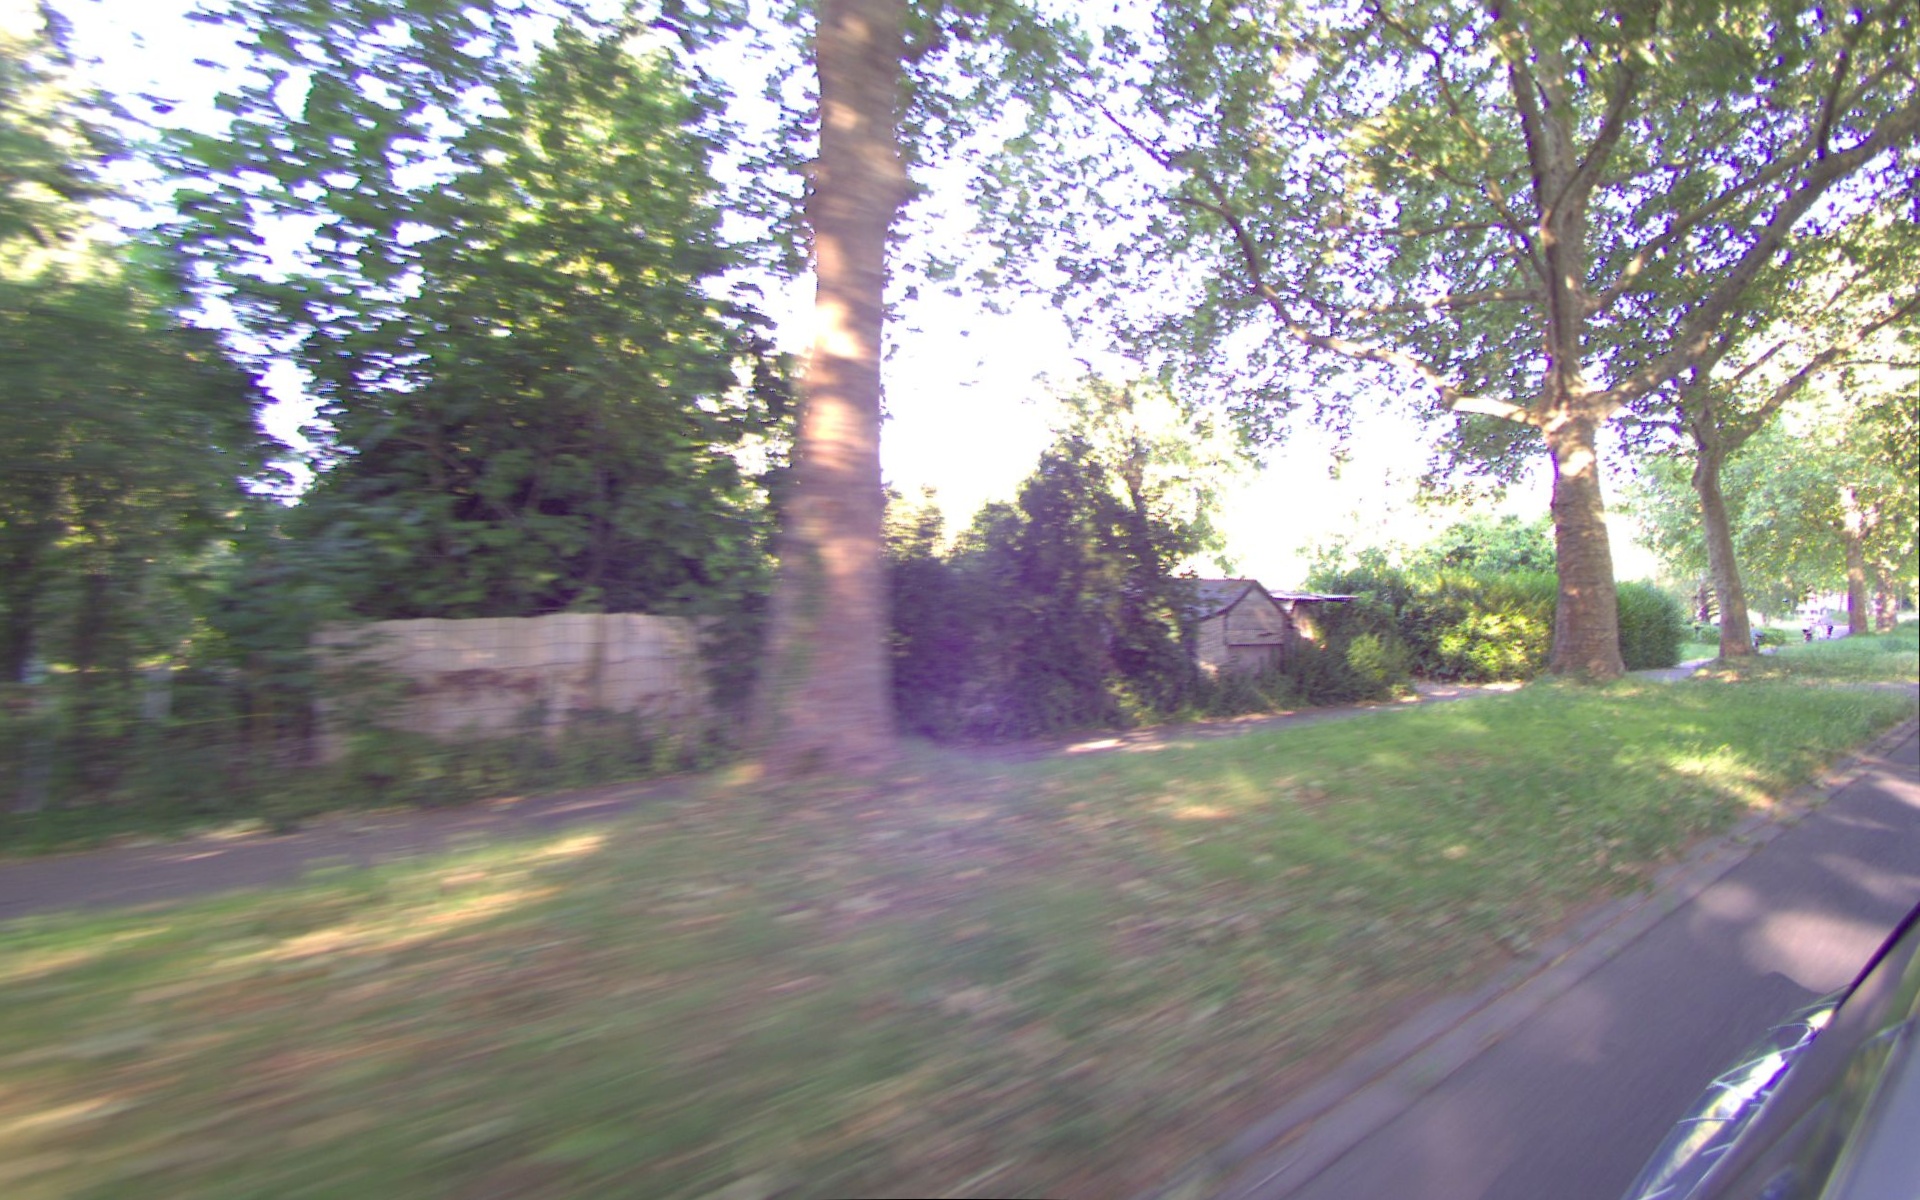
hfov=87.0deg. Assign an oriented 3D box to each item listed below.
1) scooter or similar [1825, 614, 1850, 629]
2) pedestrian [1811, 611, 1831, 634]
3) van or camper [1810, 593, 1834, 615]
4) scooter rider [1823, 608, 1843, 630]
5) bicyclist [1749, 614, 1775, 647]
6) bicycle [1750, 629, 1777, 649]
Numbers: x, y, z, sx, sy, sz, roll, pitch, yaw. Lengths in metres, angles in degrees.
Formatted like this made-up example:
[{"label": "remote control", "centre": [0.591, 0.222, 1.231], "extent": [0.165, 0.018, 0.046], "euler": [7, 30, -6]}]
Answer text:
[{"label": "scooter or similar", "centre": [66.361, 1.615, 76.493], "extent": [1.569, 1.149, 0.341], "euler": [0, 0, 1]}, {"label": "pedestrian", "centre": [59.978, 1.566, 70.531], "extent": [0.769, 1.596, 0.846], "euler": [0, 0, -28]}, {"label": "van or camper", "centre": [114.515, 0.547, 134.499], "extent": [2.377, 2.835, 5.603], "euler": [0, 1, 40]}, {"label": "scooter rider", "centre": [66.031, 1.424, 76.529], "extent": [0.829, 1.596, 0.784], "euler": [0, -1, 0]}, {"label": "bicyclist", "centre": [34.971, 1.312, 44.143], "extent": [0.757, 1.383, 0.736], "euler": [0, 0, -38]}, {"label": "bicycle", "centre": [35.131, 1.697, 44.254], "extent": [1.855, 0.827, 0.553], "euler": [-1, 0, -40]}]
